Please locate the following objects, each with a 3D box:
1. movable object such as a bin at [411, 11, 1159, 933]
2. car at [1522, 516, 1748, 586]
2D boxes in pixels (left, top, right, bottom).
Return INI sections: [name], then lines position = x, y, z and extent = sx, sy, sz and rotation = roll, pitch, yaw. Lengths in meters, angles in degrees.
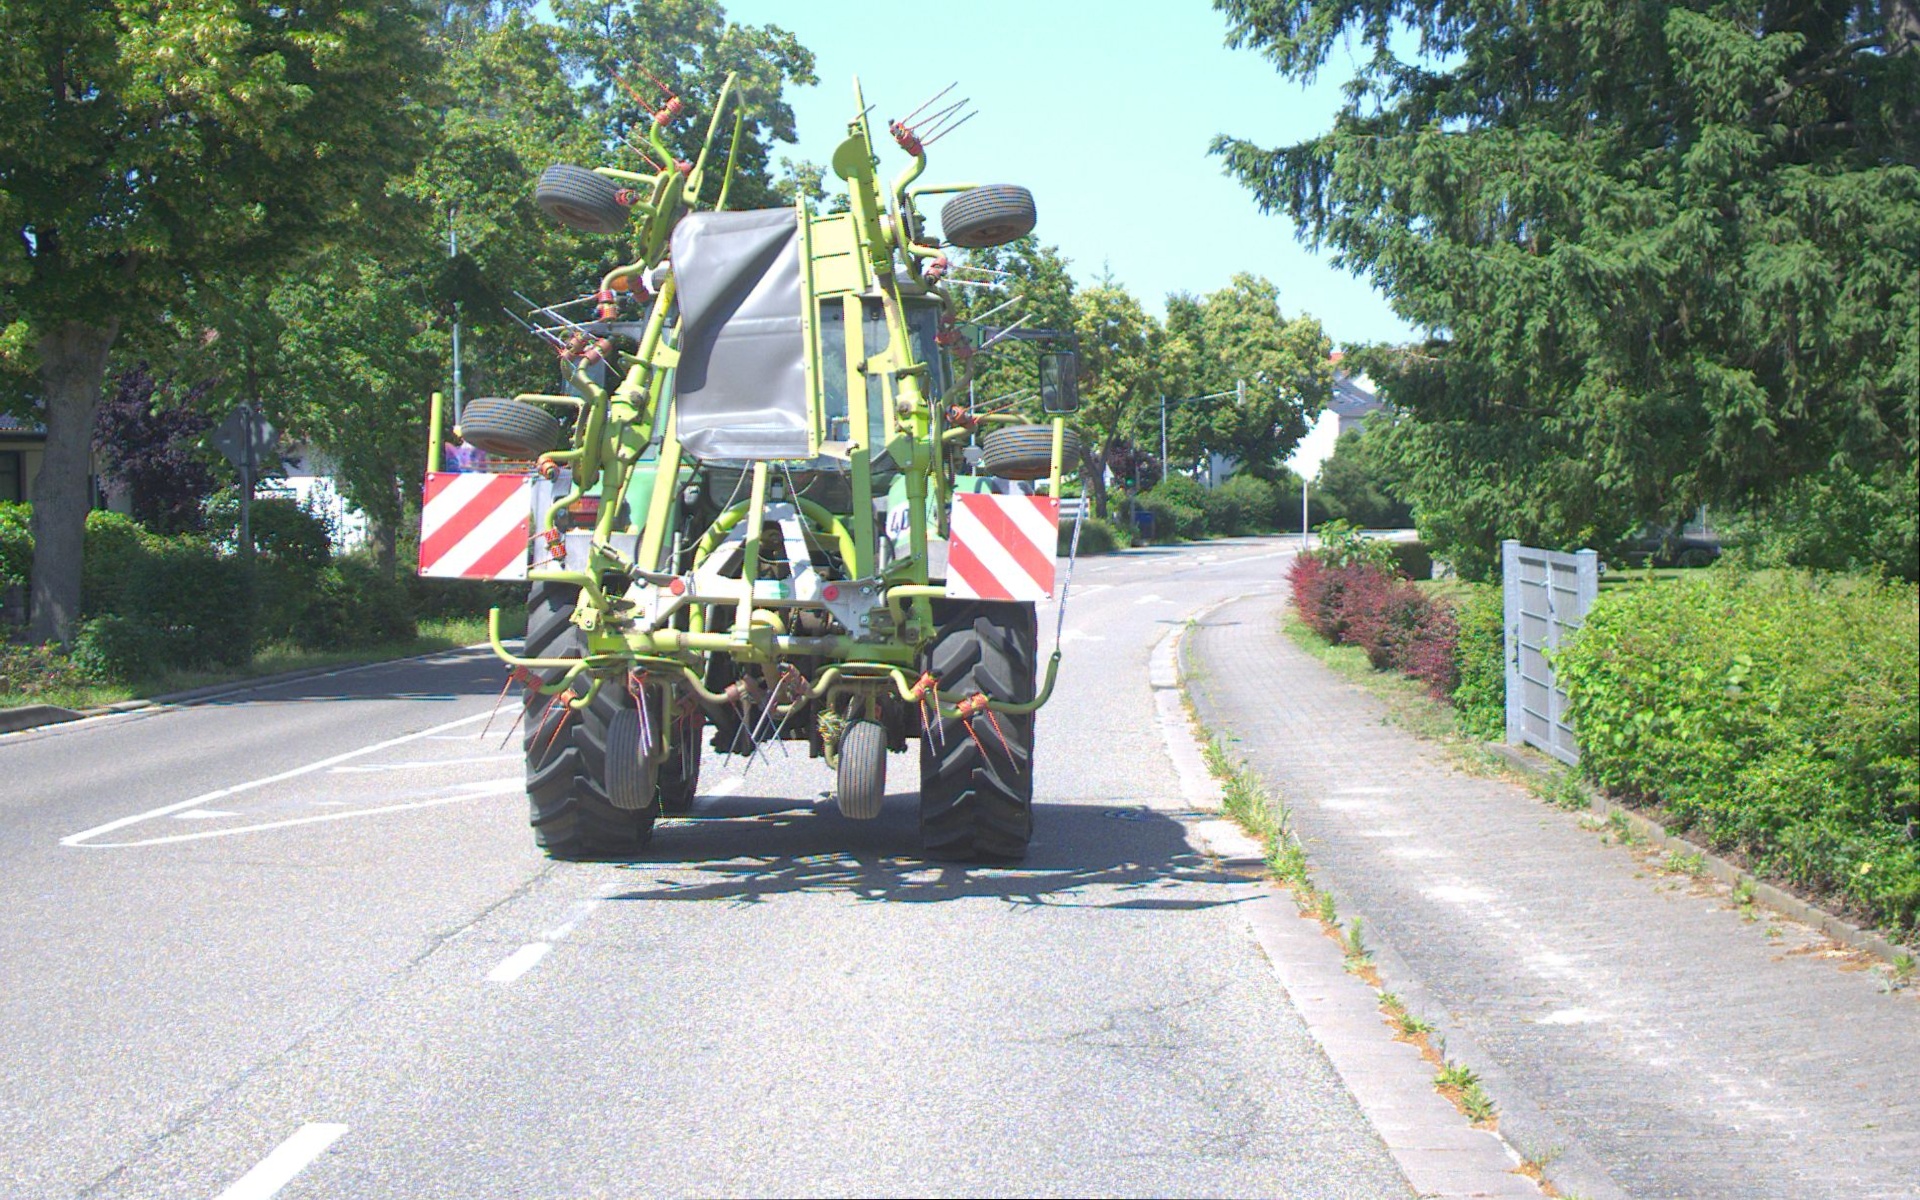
[movable object such as a bin]
position = -0.650, -0.563, 18.100
extent = 2.853, 3.529, 9.701
rotation = 0, 1, 0
[car]
position = 12.657, -0.933, 64.558
extent = 3.810, 1.290, 1.684
rotation = 0, 1, -12
